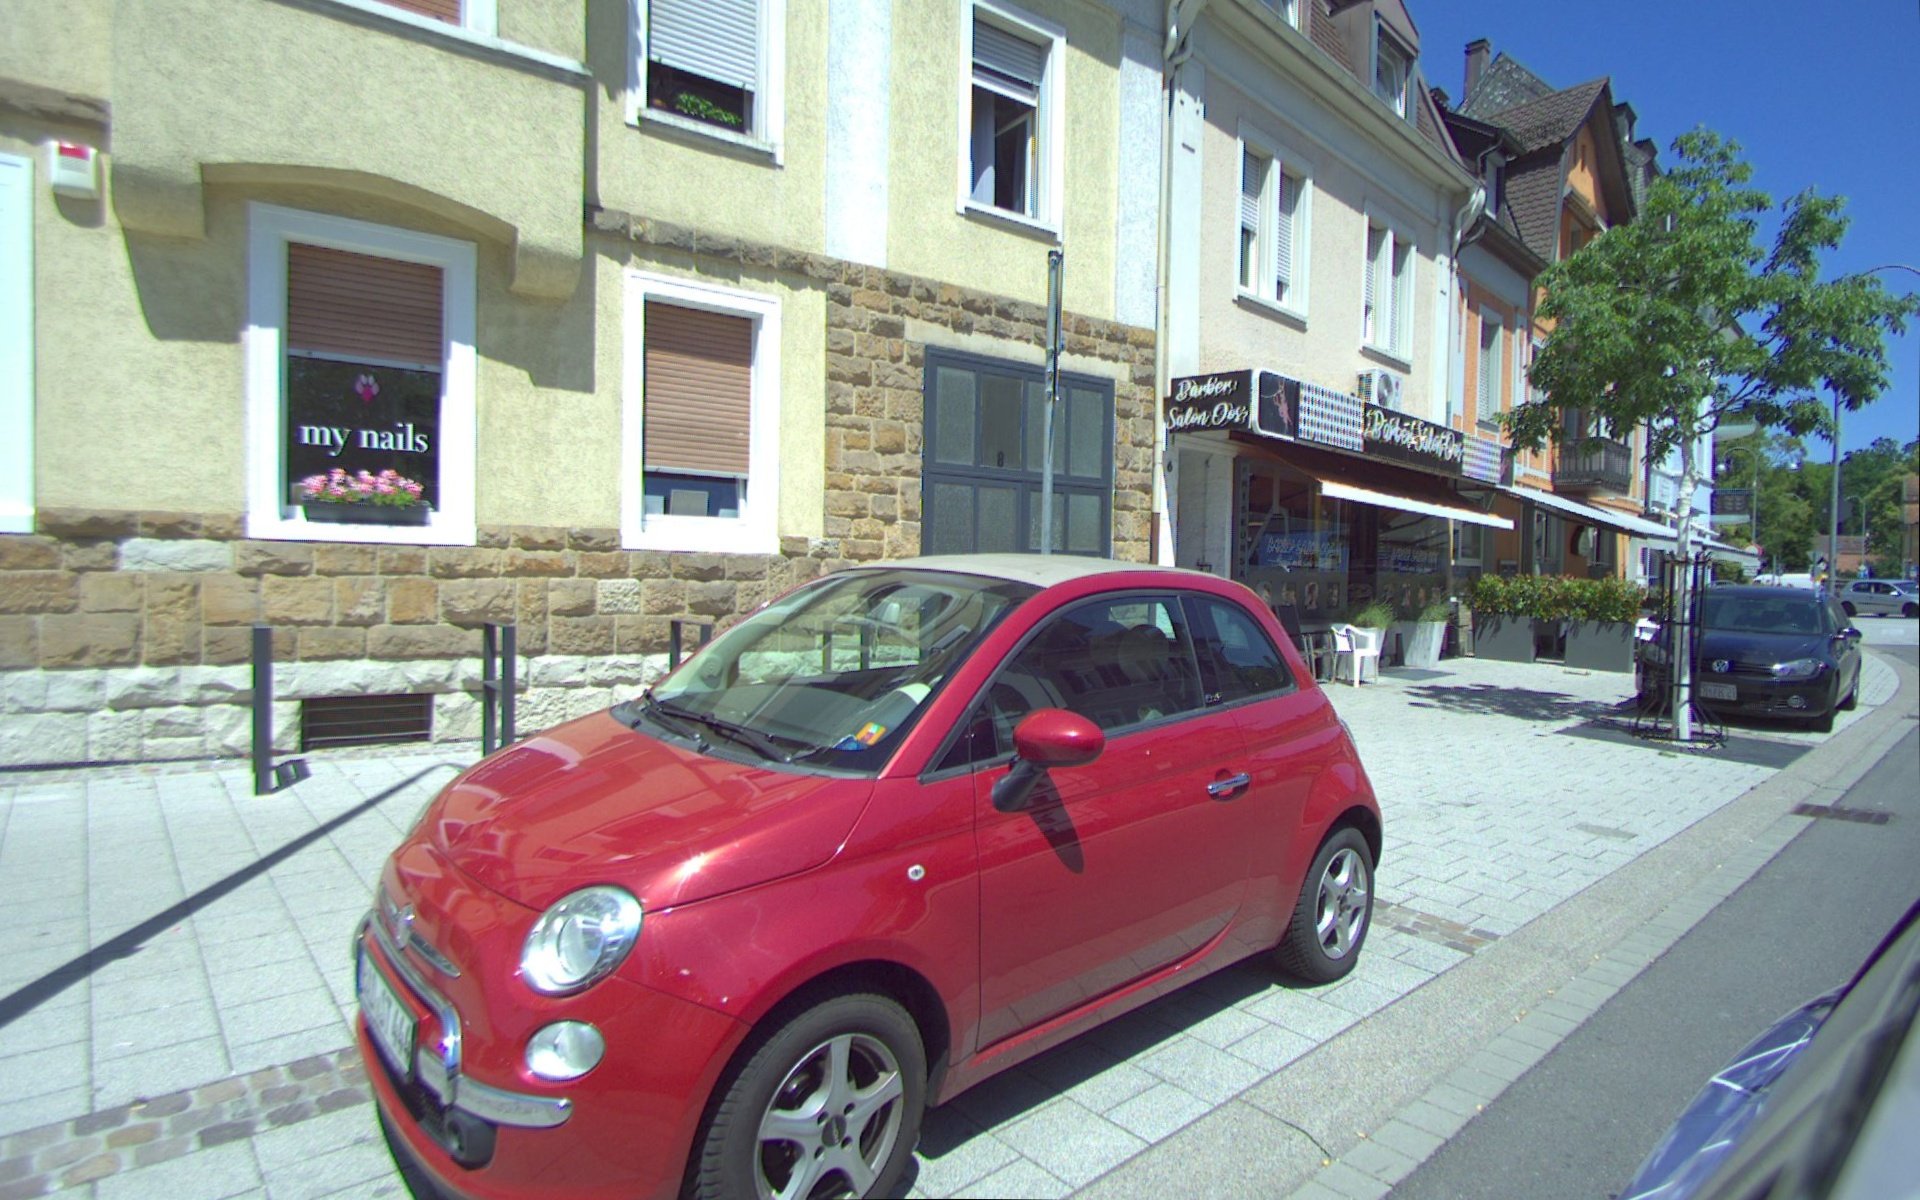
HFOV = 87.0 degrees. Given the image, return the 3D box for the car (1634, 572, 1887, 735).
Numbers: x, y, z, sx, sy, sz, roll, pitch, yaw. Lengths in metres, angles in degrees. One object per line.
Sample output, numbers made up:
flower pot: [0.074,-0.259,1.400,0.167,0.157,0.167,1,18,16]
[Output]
car: [9.515,0.474,11.900,4.253,1.490,1.732,-1,4,-44]

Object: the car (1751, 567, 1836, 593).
car: [83.469,-1.973,101.402,2.270,2.492,6.347,-1,1,-44]

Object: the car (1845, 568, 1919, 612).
car: [37.121,-0.409,39.100,1.961,1.616,4.194,-2,1,-3]

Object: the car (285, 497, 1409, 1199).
car: [-0.106,0.534,3.344,3.329,1.532,1.682,-1,4,-43]
